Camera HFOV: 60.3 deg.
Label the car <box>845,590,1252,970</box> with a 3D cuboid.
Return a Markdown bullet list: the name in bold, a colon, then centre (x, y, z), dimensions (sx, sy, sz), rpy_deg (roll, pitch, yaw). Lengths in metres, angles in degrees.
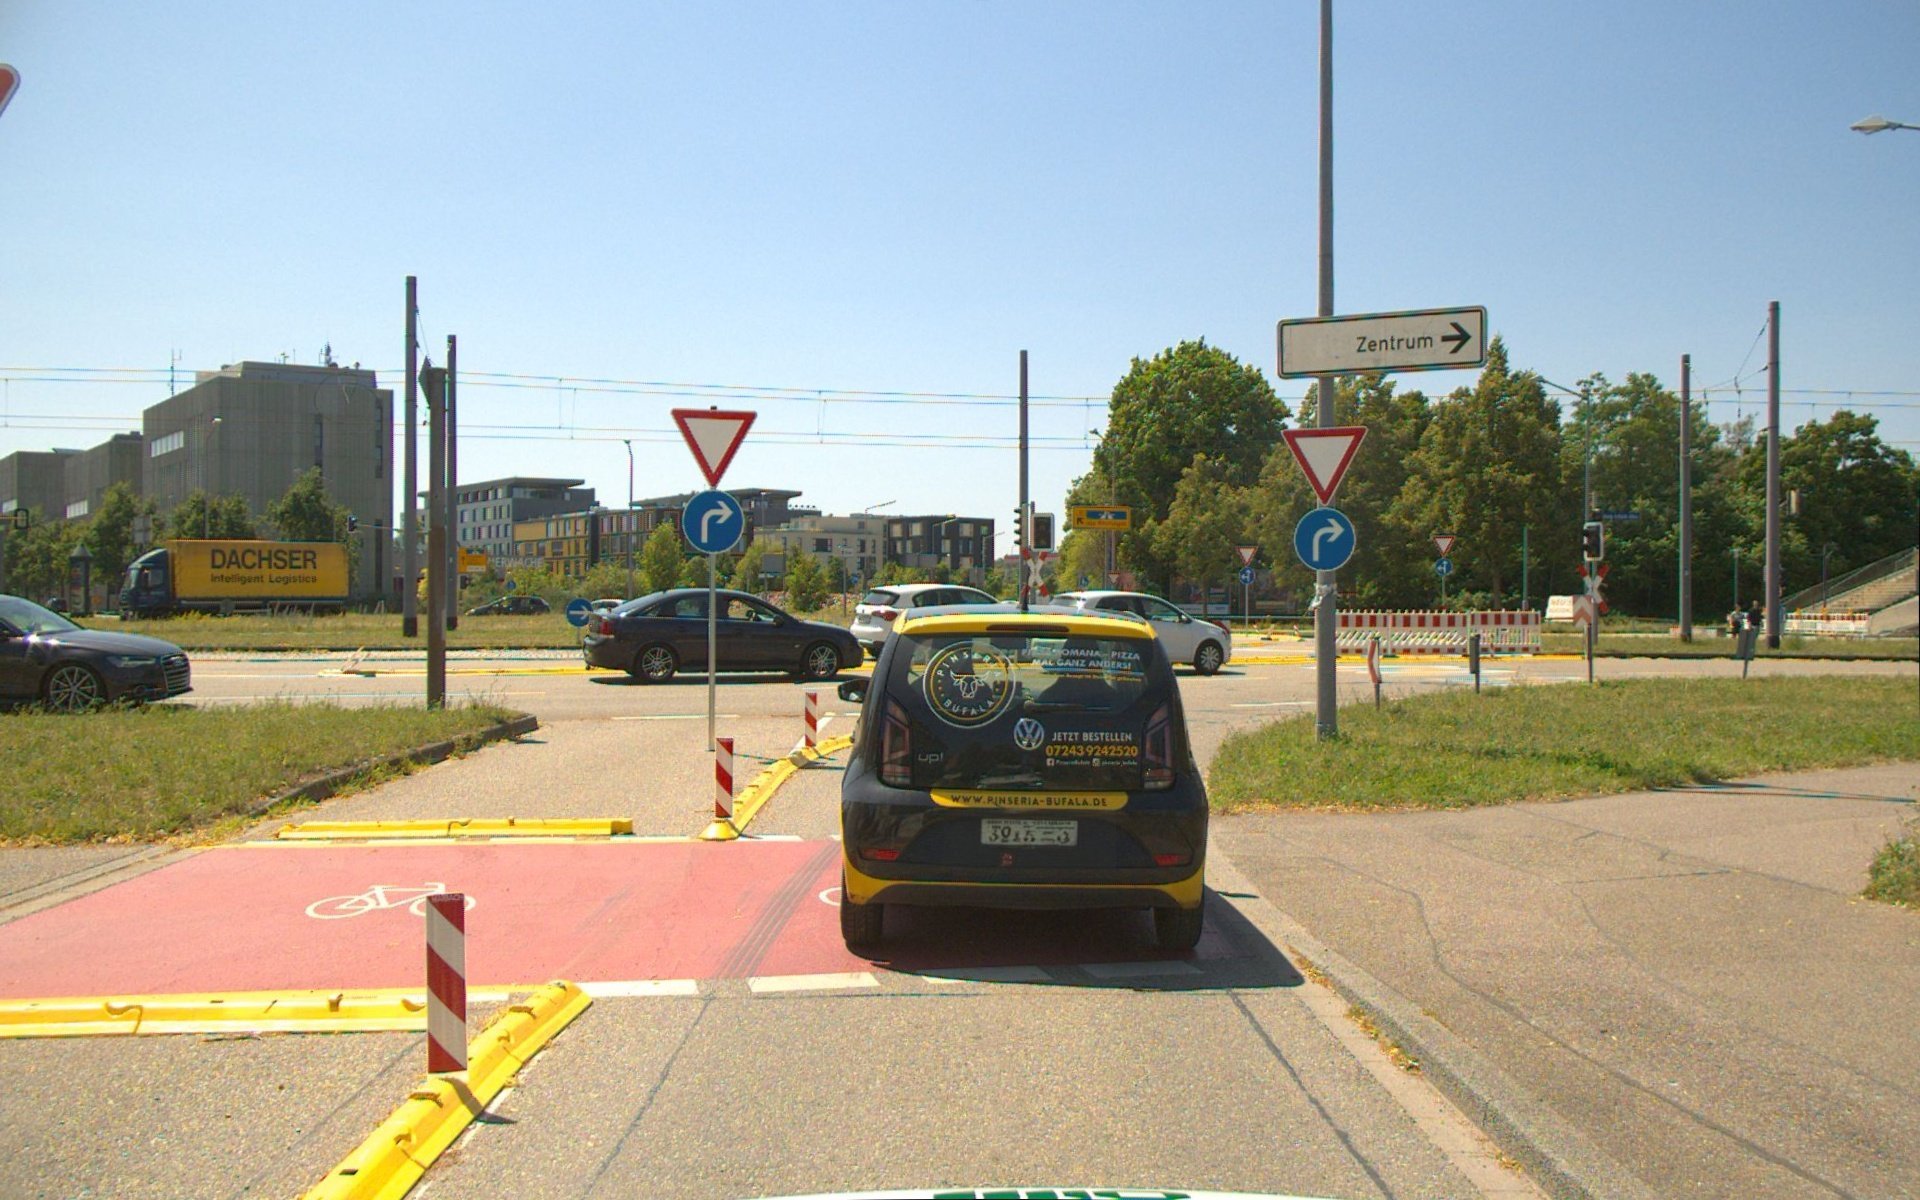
- **car**: centre (0.304, 0.713, 8.522), dimensions (1.586, 1.477, 3.985), rpy_deg (1, 0, -1)

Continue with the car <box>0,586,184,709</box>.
- **car**: centre (-12.460, 0.574, 20.701), dimensions (4.544, 1.474, 1.998), rpy_deg (0, 0, -5)

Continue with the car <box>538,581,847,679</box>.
- **car**: centre (-4.340, 0.488, 26.778), dimensions (4.672, 1.474, 1.989), rpy_deg (1, 0, -20)

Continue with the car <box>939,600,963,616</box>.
- **car**: centre (-0.670, 0.572, 122.878), dimensions (1.461, 1.109, 3.522), rpy_deg (0, 0, 5)

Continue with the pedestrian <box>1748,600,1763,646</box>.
- **pedestrian**: centre (30.405, 0.878, 63.236), dimensions (0.438, 1.769, 0.291), rpy_deg (0, 0, 10)

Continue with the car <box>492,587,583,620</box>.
- **car**: centre (-19.838, 0.167, 77.671), dimensions (3.976, 1.487, 1.719), rpy_deg (0, 0, -21)

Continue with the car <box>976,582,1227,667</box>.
- **car**: centre (2.614, 0.451, 30.364), dimensions (4.286, 1.474, 1.840), rpy_deg (1, 0, -28)

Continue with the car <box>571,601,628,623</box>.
- **car**: centre (-19.221, 0.619, 88.258), dimensions (2.829, 1.175, 1.204), rpy_deg (0, 0, -3)

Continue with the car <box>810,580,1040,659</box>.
- **car**: centre (-0.696, 0.367, 33.562), dimensions (4.306, 1.512, 1.980), rpy_deg (0, 0, -30)

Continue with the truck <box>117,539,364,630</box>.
- **truck**: centre (-31.082, -0.648, 71.834), dimensions (9.526, 3.723, 2.668), rpy_deg (0, 0, -40)

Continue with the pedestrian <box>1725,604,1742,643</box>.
- **pedestrian**: centre (29.254, 0.883, 62.554), dimensions (0.509, 1.454, 0.352), rpy_deg (0, 0, 8)

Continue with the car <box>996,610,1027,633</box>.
- **car**: centre (3.245, 1.330, 103.577), dimensions (1.623, 1.396, 3.034), rpy_deg (0, 0, 8)
